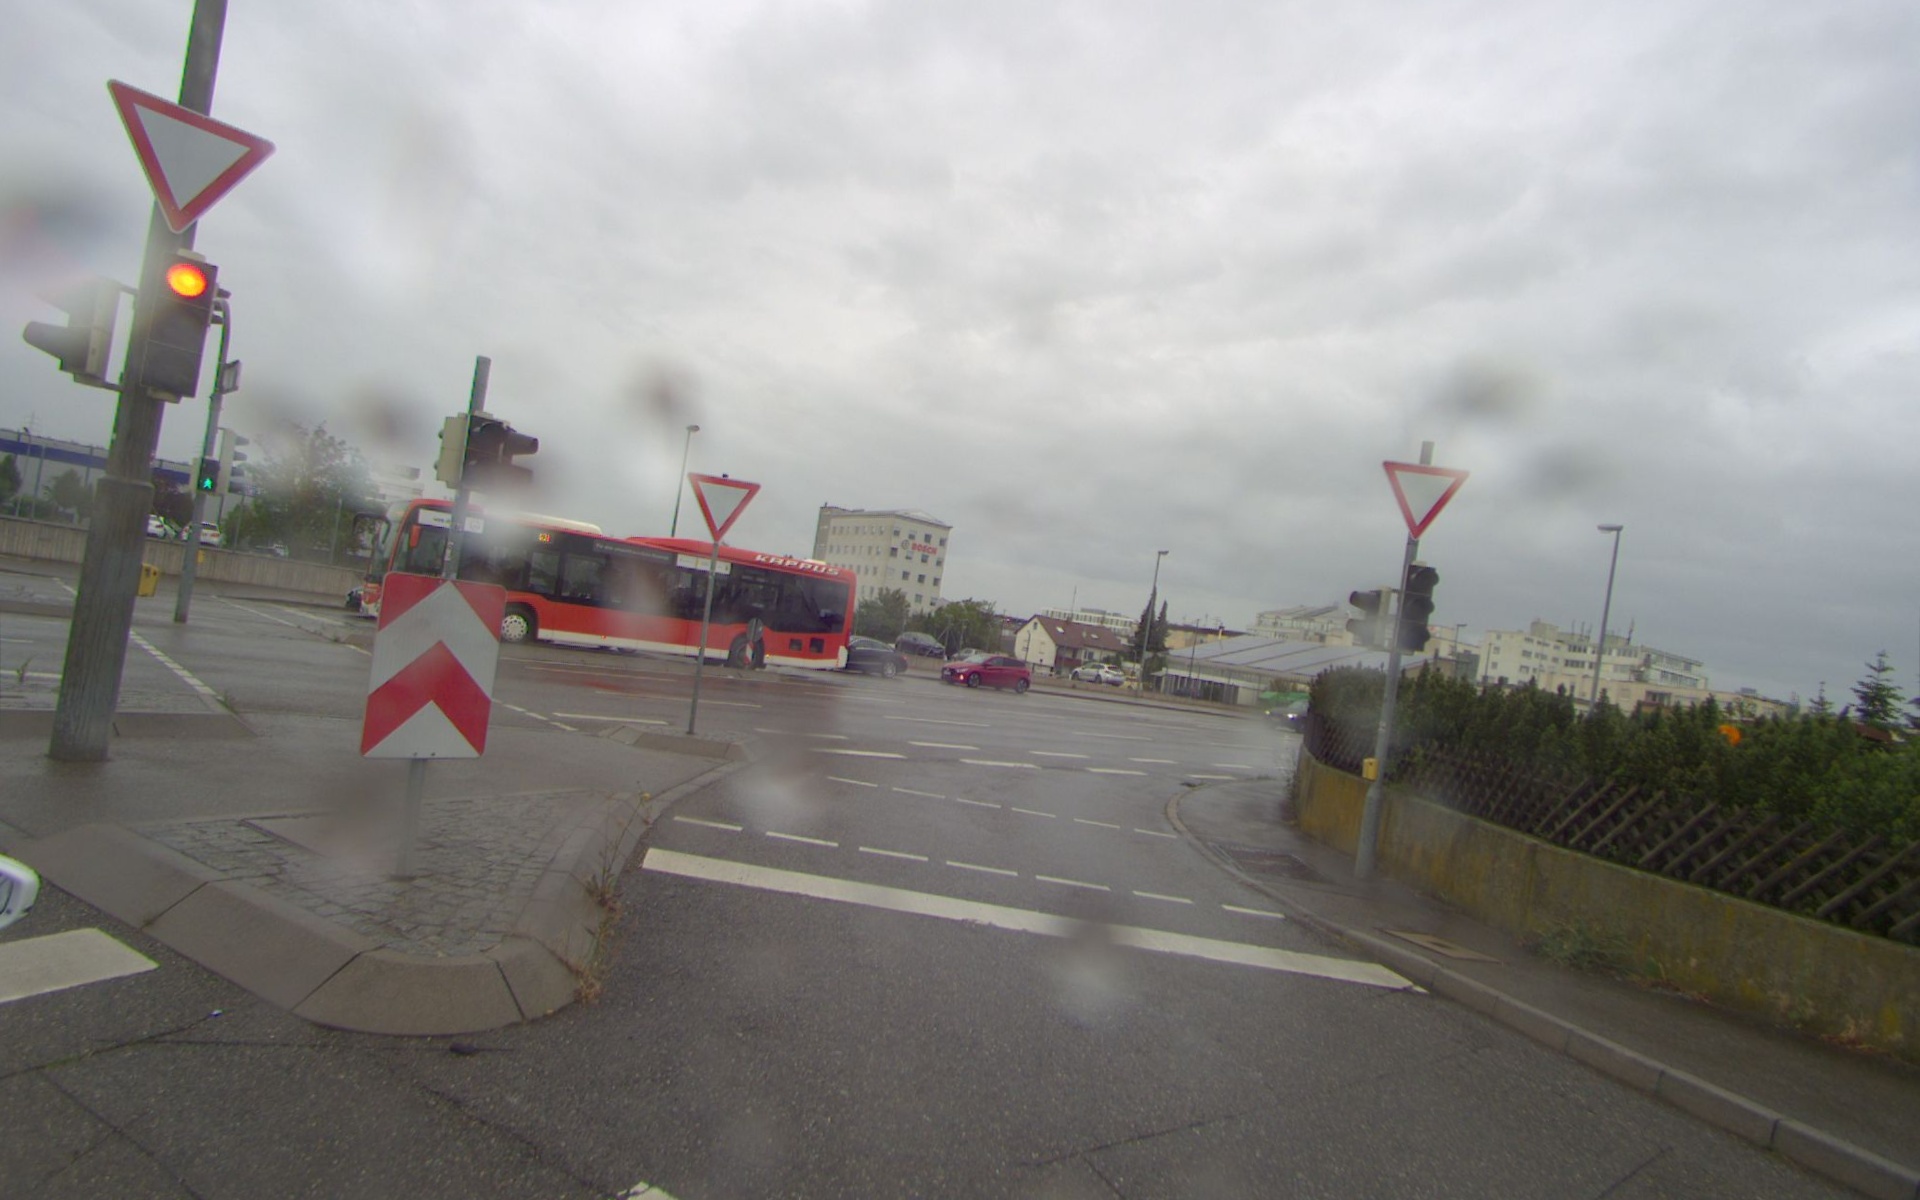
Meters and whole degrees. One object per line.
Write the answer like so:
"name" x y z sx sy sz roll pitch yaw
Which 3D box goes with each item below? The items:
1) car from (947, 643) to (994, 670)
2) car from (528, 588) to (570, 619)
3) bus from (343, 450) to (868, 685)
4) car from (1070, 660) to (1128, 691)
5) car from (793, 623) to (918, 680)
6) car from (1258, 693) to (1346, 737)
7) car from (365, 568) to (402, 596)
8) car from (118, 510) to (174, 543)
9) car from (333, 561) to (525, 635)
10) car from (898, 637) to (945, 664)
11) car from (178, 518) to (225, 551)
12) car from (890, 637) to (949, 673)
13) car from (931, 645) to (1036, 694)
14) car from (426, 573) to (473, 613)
"car" 0.842 4.694 83.629 1.980 1.636 3.970 9 -2 -30
"car" -32.261 0.253 78.936 1.983 2.037 3.962 8 -2 -36
"bus" -8.346 -0.427 25.899 12.223 3.614 2.952 12 -4 -41
"car" 9.654 5.224 70.124 1.976 1.561 3.977 9 -2 -25
"car" -3.911 1.980 38.216 4.367 1.555 1.804 10 -3 -42
"car" 15.077 5.070 44.220 3.974 1.515 1.832 9 -3 -41
"car" -41.663 -1.296 72.668 1.912 1.607 3.754 9 -2 -34
"car" -45.612 -4.104 56.448 1.805 1.450 4.071 8 -2 -32
"car" -14.838 -0.024 28.250 4.367 1.370 1.804 10 -3 -42
"car" -3.125 4.078 81.341 1.980 1.636 3.970 9 -2 -30
"car" -43.825 -3.751 58.217 1.847 1.543 4.066 8 -2 -35
"car" -2.502 3.371 61.714 1.912 1.684 3.869 9 -2 -29
"car" 1.008 2.911 42.055 3.948 1.525 1.853 9 -2 -36
"car" -31.156 -0.450 61.366 1.734 2.037 3.786 8 -2 -37
